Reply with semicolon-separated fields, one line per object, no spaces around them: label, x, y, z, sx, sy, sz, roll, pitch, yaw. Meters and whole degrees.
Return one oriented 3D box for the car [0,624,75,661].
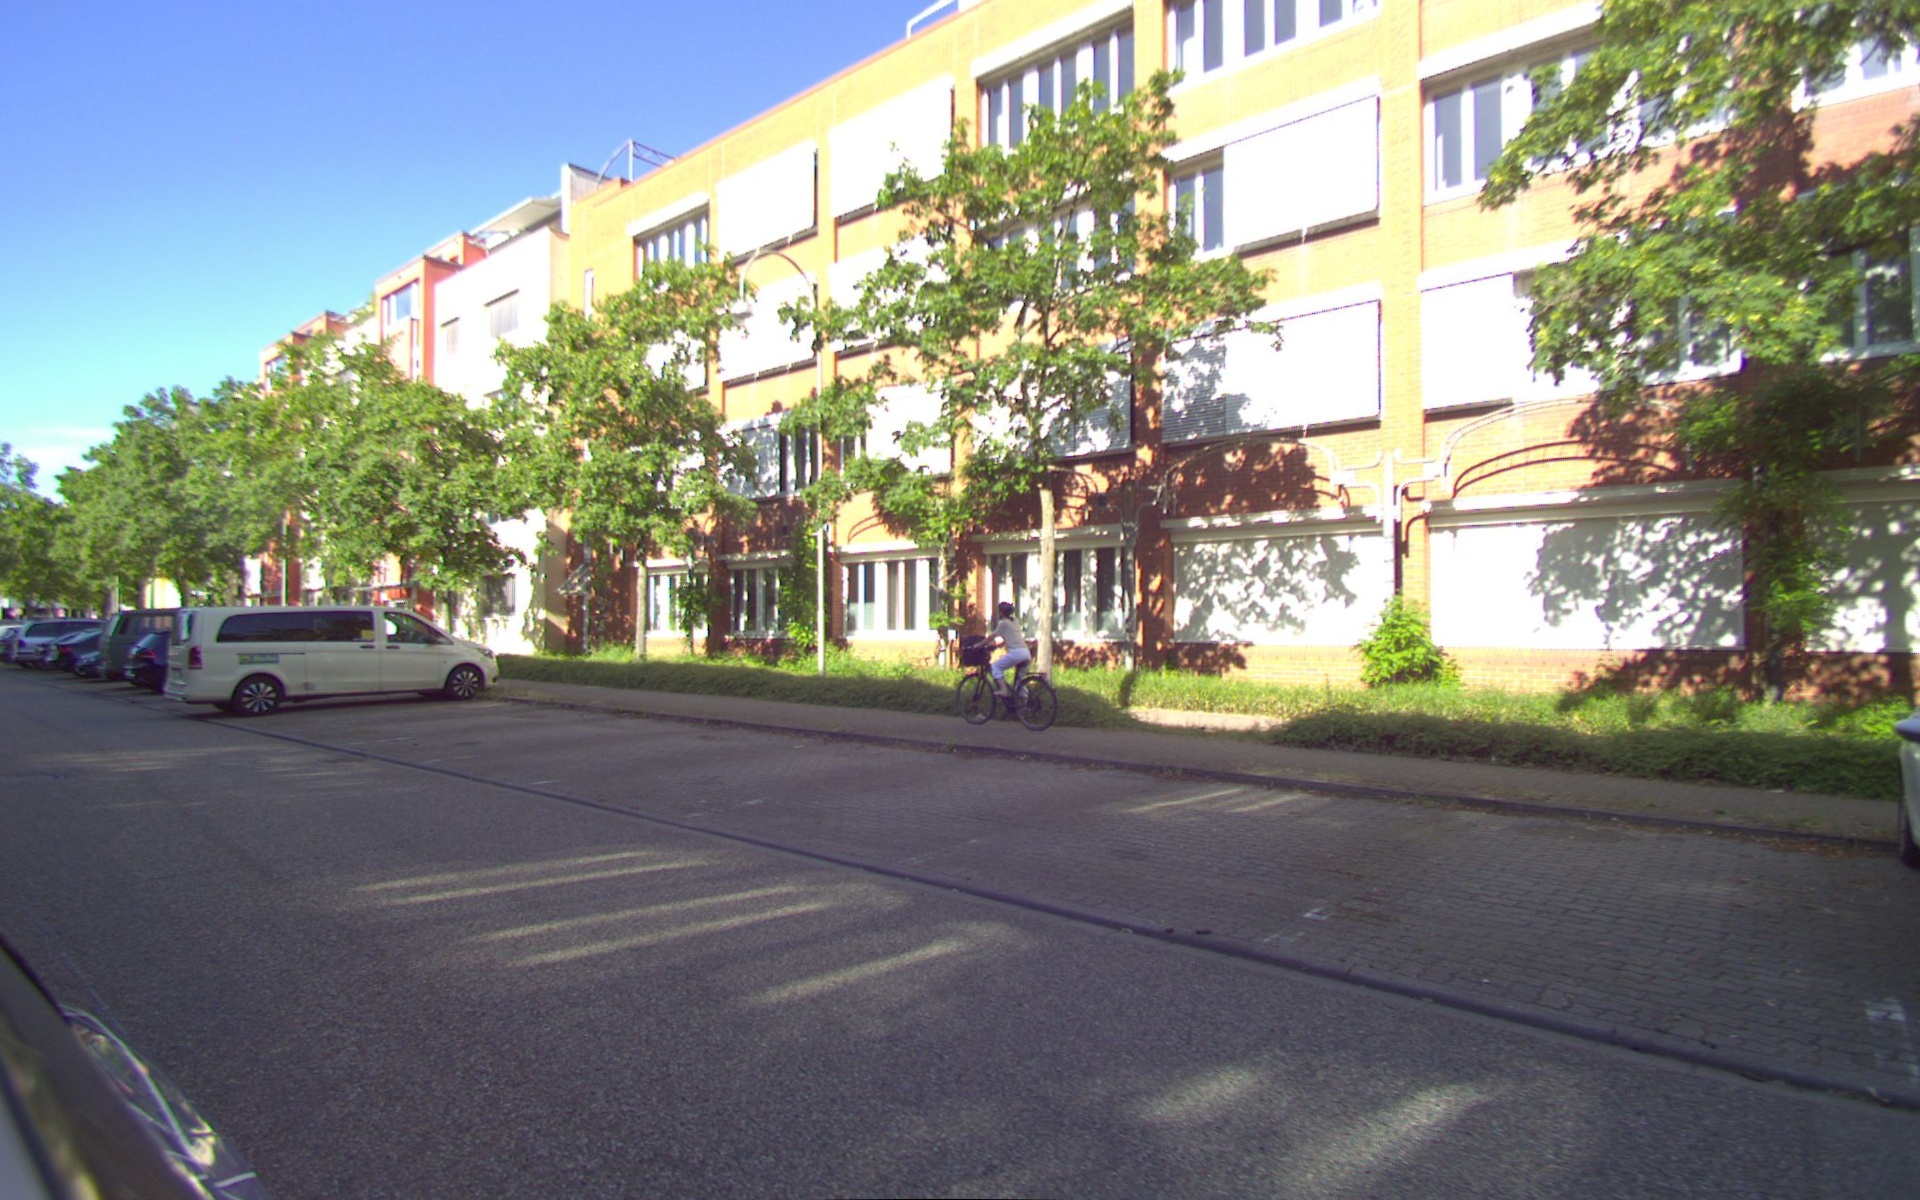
car;-43.553;1.970;46.720;1.858;1.586;3.852;-2;-1;41

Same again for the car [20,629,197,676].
car;-28.338;1.710;33.788;1.755;1.369;4.278;-2;-1;39

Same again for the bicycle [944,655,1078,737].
bicycle;0.650;1.239;13.459;1.864;0.989;0.598;-2;-3;45

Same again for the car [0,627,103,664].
car;-39.623;1.926;43.693;1.856;1.458;3.692;-2;-1;37

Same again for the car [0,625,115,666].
car;-37.658;1.853;42.035;1.858;1.520;3.689;-2;-1;39

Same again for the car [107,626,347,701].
car;-17.114;1.409;23.780;1.942;1.489;4.274;-2;-1;42

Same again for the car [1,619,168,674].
car;-30.296;1.559;35.105;4.271;1.730;1.963;0;-1;-45

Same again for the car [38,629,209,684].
car;-24.701;1.632;29.968;1.724;1.438;3.687;-2;-1;41

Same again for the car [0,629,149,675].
car;-32.145;1.830;36.438;1.770;1.438;4.360;-2;-1;38

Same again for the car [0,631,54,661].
car;-49.024;2.360;51.751;1.738;1.434;3.852;-2;-1;41

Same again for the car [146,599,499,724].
car;-11.564;0.997;18.707;1.942;1.982;5.202;-2;-1;42

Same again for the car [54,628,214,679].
car;-26.229;1.655;32.211;1.723;1.438;3.689;-2;-1;39

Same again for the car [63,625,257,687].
car;-22.583;1.528;28.692;1.724;1.539;4.090;-2;-1;40

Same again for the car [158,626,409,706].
car;-14.800;1.370;22.299;1.942;1.489;4.274;-2;-1;42

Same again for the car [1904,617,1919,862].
car;5.628;0.818;4.486;1.805;1.497;3.947;-2;-2;39

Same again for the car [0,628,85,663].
car;-41.571;2.016;45.032;1.873;1.458;3.692;-2;-1;37

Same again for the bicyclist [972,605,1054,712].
bicyclist;0.699;0.760;13.426;0.913;1.363;0.598;-2;-3;45

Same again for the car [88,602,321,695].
car;-19.046;1.148;25.656;2.082;2.106;4.440;-2;-1;42

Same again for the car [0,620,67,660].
car;-45.457;1.923;48.446;1.785;1.825;3.852;-2;-1;41

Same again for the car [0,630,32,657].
car;-52.906;2.387;54.506;1.740;1.434;4.215;-2;-1;44

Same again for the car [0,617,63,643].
car;-73.682;2.347;79.308;1.983;2.000;4.744;-2;-2;17
